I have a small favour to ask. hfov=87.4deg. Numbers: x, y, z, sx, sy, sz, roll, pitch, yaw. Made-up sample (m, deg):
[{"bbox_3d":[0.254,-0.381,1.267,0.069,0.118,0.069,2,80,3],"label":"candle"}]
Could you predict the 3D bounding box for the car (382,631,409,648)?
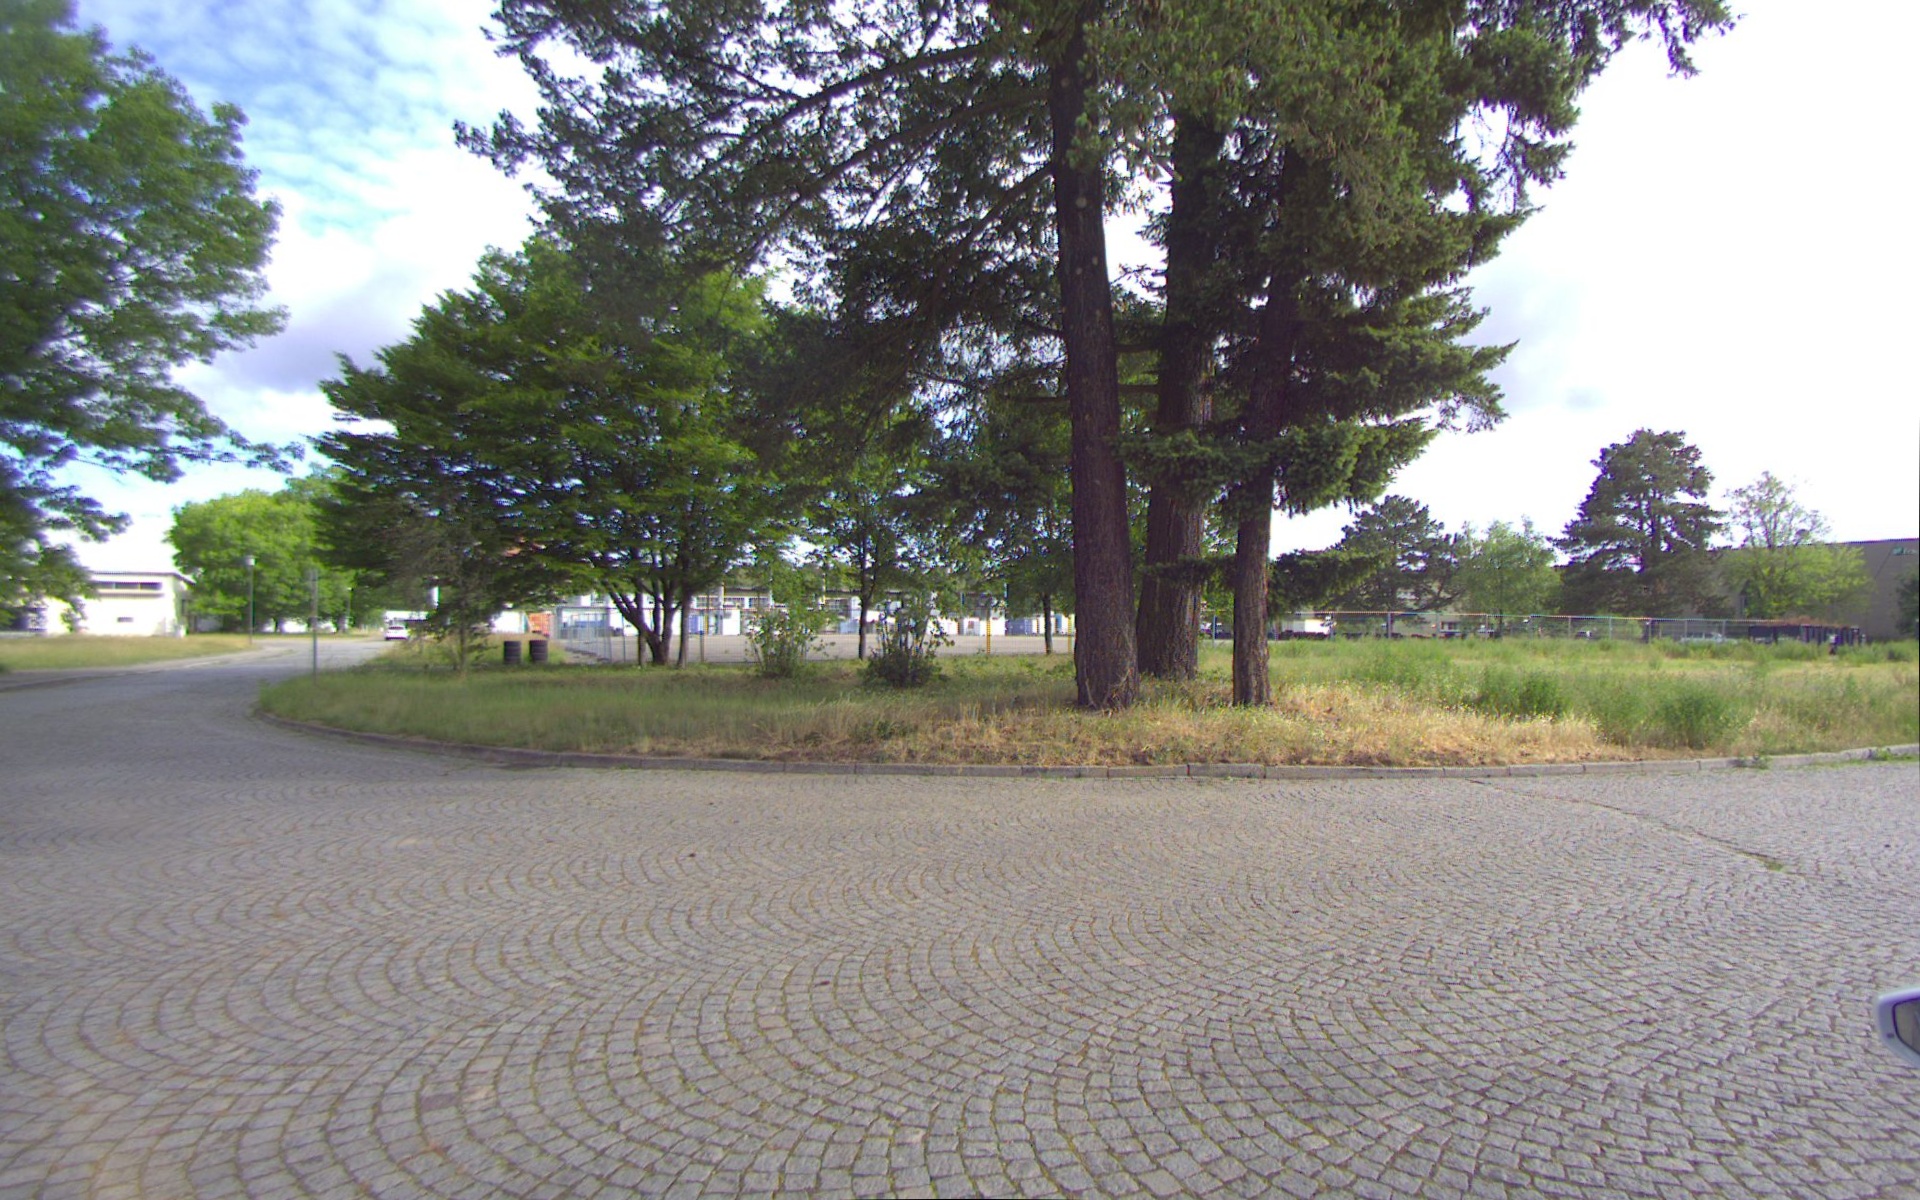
[{"bbox_3d":[-51.904,3.657,92.431,1.830,1.456,4.676,0,-1,-26],"label":"car"}]
